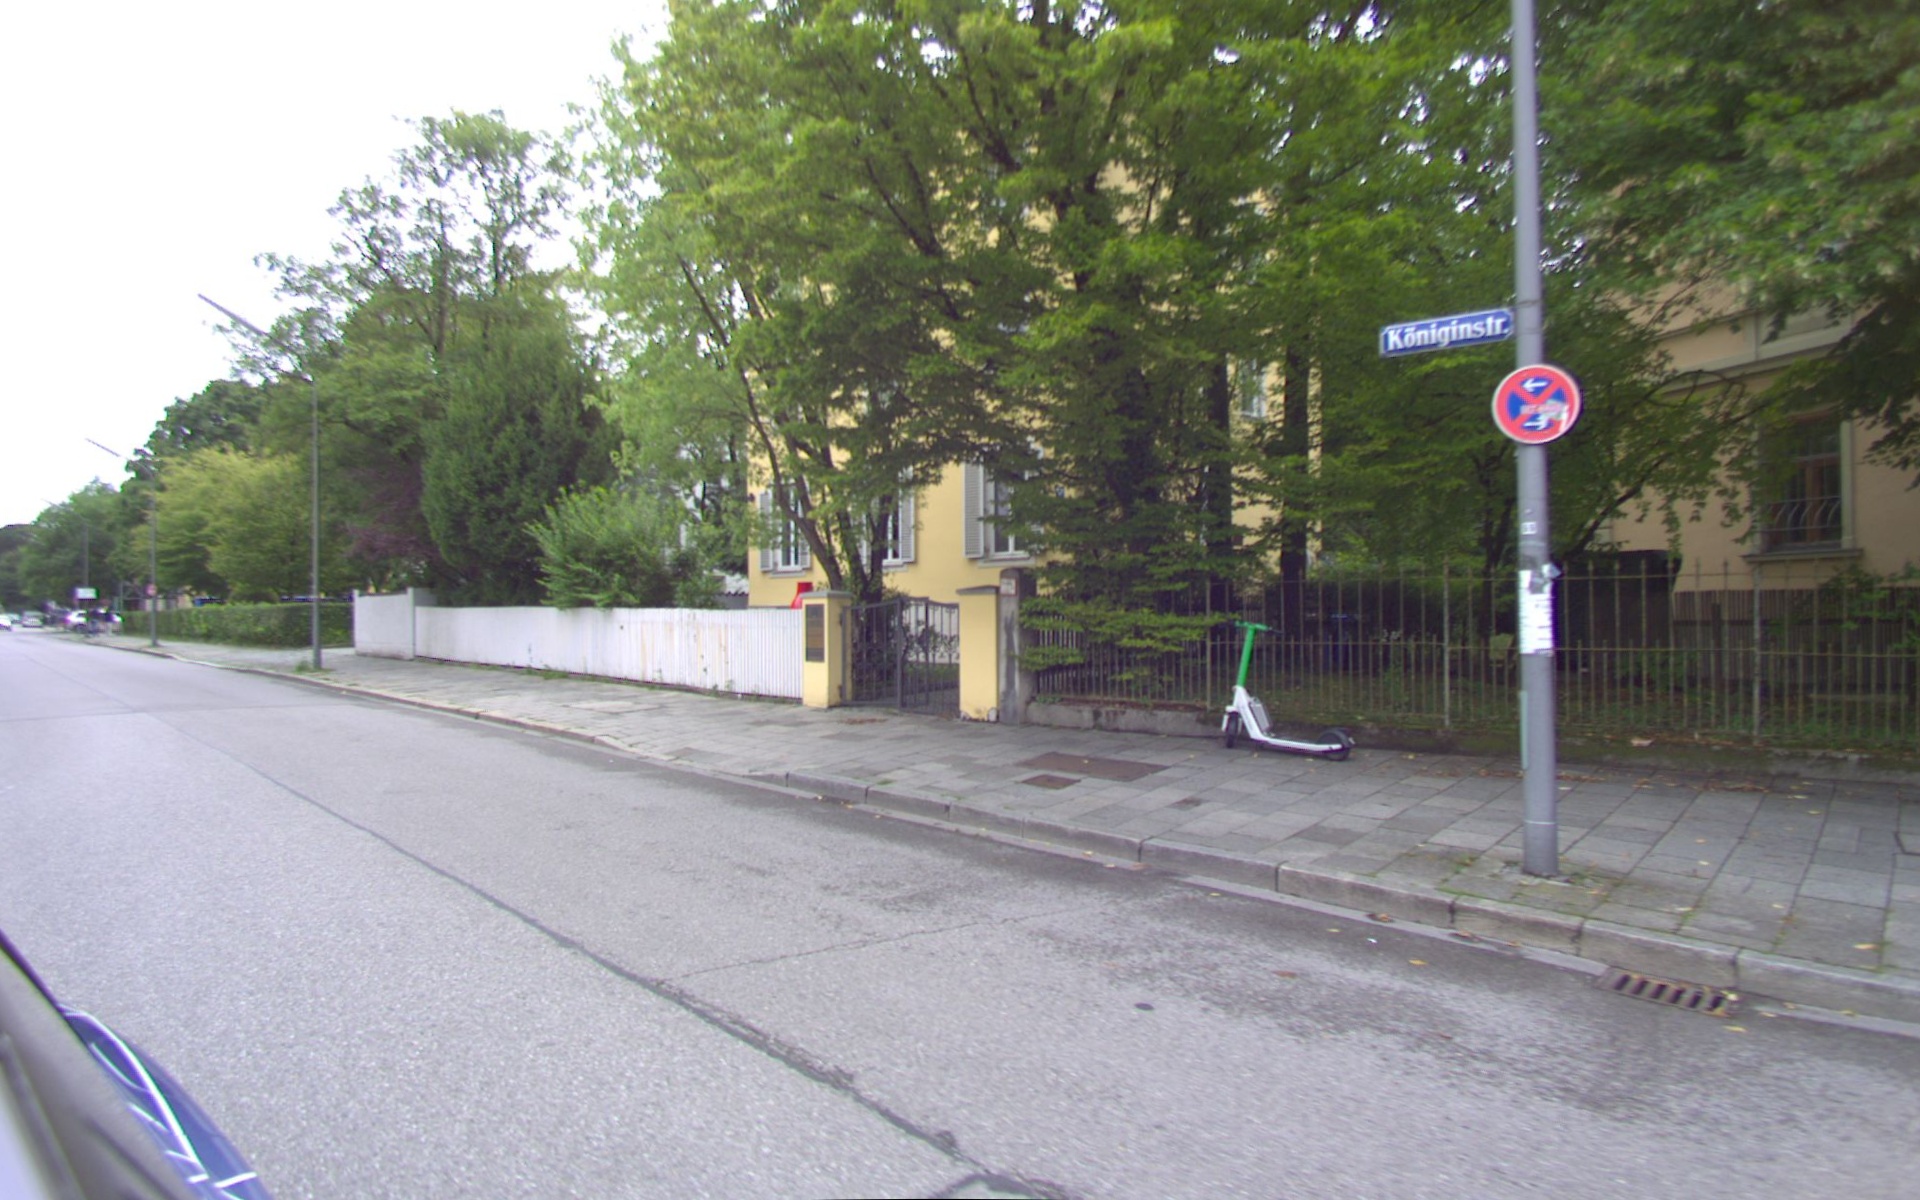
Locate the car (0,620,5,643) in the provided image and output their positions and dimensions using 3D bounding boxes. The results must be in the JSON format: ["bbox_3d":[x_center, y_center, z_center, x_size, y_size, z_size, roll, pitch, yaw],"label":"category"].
[{"bbox_3d":[-90.274,2.935,94.083,4.001,2.029,1.971,-1,-1,44],"label":"car"}]

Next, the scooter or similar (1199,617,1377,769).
[{"bbox_3d":[2.844,0.769,8.870,0.386,1.198,1.421,-6,3,-43],"label":"scooter or similar"}]

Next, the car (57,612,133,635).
[{"bbox_3d":[-65.404,1.778,76.588,4.063,1.625,1.867,-1,0,-27],"label":"car"}]
